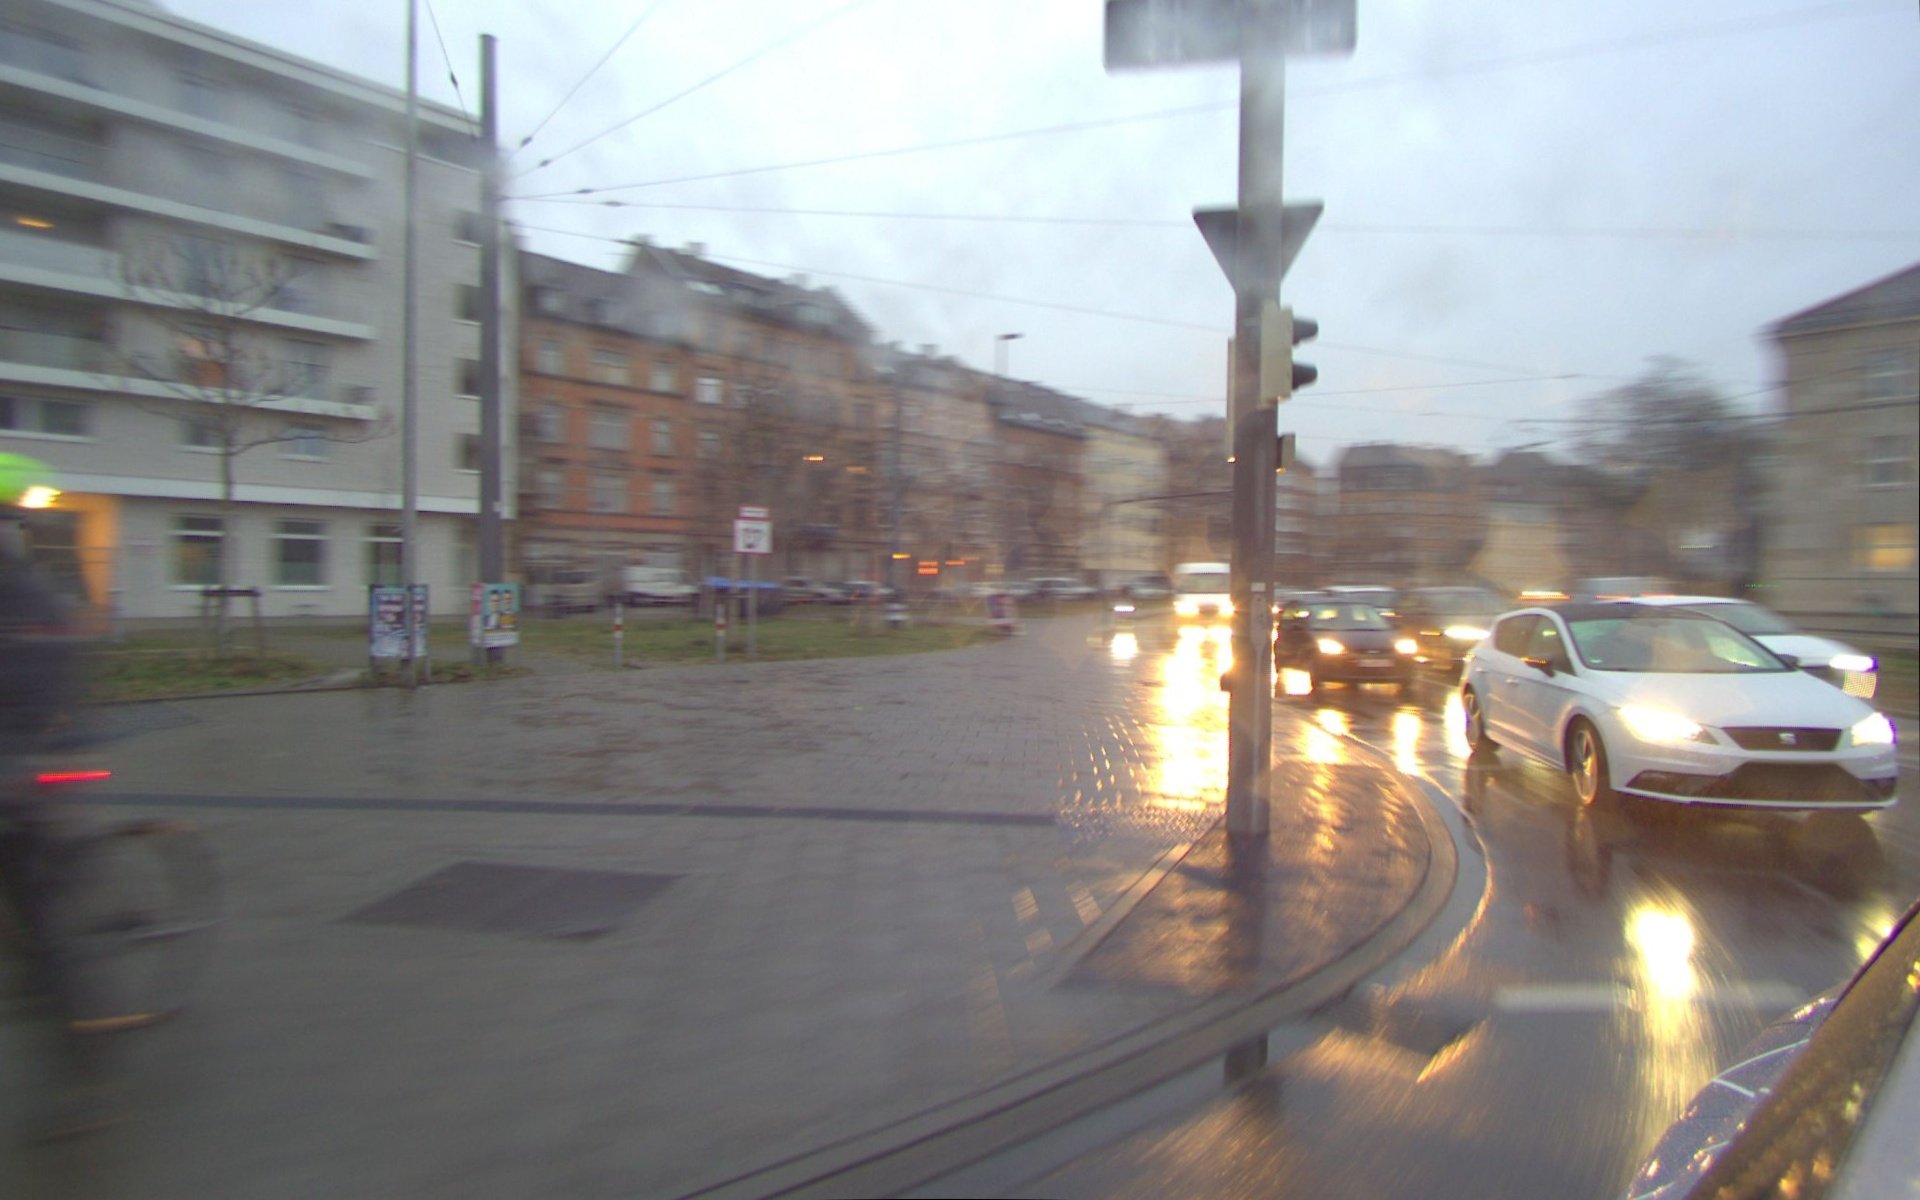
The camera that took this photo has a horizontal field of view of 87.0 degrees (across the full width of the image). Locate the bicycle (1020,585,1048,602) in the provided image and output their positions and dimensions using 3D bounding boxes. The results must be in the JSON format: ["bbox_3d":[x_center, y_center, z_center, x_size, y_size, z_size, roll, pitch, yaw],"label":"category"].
[{"bbox_3d":[4.544,-0.390,61.846,1.789,0.943,0.439,4,2,42],"label":"bicycle"}]

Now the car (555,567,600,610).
[{"bbox_3d":[-18.272,-0.584,48.428,1.902,1.966,4.608,0,1,-20],"label":"car"}]

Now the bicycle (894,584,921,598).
[{"bbox_3d":[-3.279,-0.558,62.671,1.786,0.787,0.440,3,2,38],"label":"bicycle"}]

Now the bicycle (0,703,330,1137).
[{"bbox_3d":[-2.777,0.892,2.769,0.648,0.986,1.858,0,1,15],"label":"bicycle"}]

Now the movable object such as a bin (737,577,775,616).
[{"bbox_3d":[-8.041,-0.145,39.906,1.120,1.504,1.051,0,1,-41],"label":"movable object such as a bin"}]

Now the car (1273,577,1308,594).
[{"bbox_3d":[32.109,-1.402,98.339,3.149,1.644,1.435,1,1,22],"label":"car"}]

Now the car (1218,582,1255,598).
[{"bbox_3d":[25.265,-0.943,92.598,3.149,1.446,1.418,1,1,22],"label":"car"}]

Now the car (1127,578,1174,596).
[{"bbox_3d":[15.112,-1.027,80.212,3.566,1.387,1.609,1,1,18],"label":"car"}]

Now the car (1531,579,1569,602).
[{"bbox_3d":[36.641,-0.601,62.901,1.628,1.403,4.437,1,1,25],"label":"car"}]

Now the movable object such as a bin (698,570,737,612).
[{"bbox_3d":[-9.266,-0.344,38.668,1.120,1.595,1.051,0,1,-41],"label":"movable object such as a bin"}]

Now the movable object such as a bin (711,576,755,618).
[{"bbox_3d":[-8.468,-0.136,37.726,1.231,1.529,1.051,0,1,-41],"label":"movable object such as a bin"}]

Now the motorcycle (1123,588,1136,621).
[{"bbox_3d":[6.572,0.159,39.326,0.476,1.198,2.404,0,1,9],"label":"motorcycle"}]

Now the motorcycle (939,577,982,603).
[{"bbox_3d":[0.035,-0.619,59.143,2.337,1.362,0.876,4,3,28],"label":"motorcycle"}]

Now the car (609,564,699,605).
[{"bbox_3d":[-17.244,-0.894,57.181,1.992,2.216,4.592,1,1,41],"label":"car"}]

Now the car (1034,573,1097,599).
[{"bbox_3d":[7.496,-1.019,71.942,4.280,1.790,1.774,1,1,13],"label":"car"}]

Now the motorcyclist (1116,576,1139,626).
[{"bbox_3d":[6.499,0.033,39.250,0.872,1.905,0.919,0,0,9],"label":"motorcyclist"}]

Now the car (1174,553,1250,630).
[{"bbox_3d":[8.797,-0.329,35.804,2.207,2.493,5.654,0,1,10],"label":"car"}]

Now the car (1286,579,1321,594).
[{"bbox_3d":[34.122,-1.316,100.568,3.151,1.431,1.371,1,1,24],"label":"car"}]

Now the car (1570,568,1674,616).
[{"bbox_3d":[27.441,-0.361,42.167,1.875,1.895,4.947,0,1,11],"label":"car"}]

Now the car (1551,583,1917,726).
[{"bbox_3d":[9.340,0.555,12.691,1.732,1.482,3.914,-1,1,4],"label":"car"}]

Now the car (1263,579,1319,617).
[{"bbox_3d":[13.516,-0.098,41.165,1.856,1.493,4.139,0,0,23],"label":"car"}]

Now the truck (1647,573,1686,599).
[{"bbox_3d":[55.919,-1.110,80.097,3.934,2.070,1.834,-1,1,-44],"label":"truck"}]

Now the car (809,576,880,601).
[{"bbox_3d":[-6.439,-0.639,56.524,3.632,1.322,1.736,1,1,13],"label":"car"}]

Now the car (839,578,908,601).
[{"bbox_3d":[-5.000,-0.612,58.507,3.632,1.322,1.662,1,1,13],"label":"car"}]

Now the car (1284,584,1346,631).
[{"bbox_3d":[11.808,0.216,33.816,1.666,1.448,3.332,0,1,15],"label":"car"}]

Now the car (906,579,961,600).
[{"bbox_3d":[-1.692,-0.670,65.159,3.252,1.322,1.515,1,1,14],"label":"car"}]

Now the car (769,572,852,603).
[{"bbox_3d":[-8.042,-0.678,54.566,4.093,1.589,1.736,1,1,13],"label":"car"}]

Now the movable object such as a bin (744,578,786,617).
[{"bbox_3d":[-7.464,-0.103,38.679,1.204,1.450,1.051,0,1,-41],"label":"movable object such as a bin"}]

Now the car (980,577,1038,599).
[{"bbox_3d":[3.293,-0.801,67.760,3.634,1.417,1.515,1,1,14],"label":"car"}]

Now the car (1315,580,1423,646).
[{"bbox_3d":[10.799,0.274,26.995,1.648,1.619,4.214,0,1,8],"label":"car"}]

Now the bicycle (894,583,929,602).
[{"bbox_3d":[-2.710,-0.409,56.508,1.868,1.031,0.538,1,2,-27],"label":"bicycle"}]

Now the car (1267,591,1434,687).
[{"bbox_3d":[6.539,0.580,17.380,1.694,1.405,3.816,0,1,6],"label":"car"}]

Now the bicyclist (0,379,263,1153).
[{"bbox_3d":[-2.694,0.404,2.812,0.782,1.914,0.984,0,1,15],"label":"bicyclist"}]

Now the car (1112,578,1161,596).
[{"bbox_3d":[13.645,-0.997,78.173,3.566,1.387,1.609,1,1,18],"label":"car"}]

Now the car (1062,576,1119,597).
[{"bbox_3d":[9.548,-0.988,73.899,3.913,1.463,1.691,1,1,19],"label":"car"}]

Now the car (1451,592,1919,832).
[{"bbox_3d":[5.587,0.672,8.285,1.761,1.396,4.209,-1,1,11],"label":"car"}]

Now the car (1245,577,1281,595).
[{"bbox_3d":[28.262,-1.341,94.419,3.149,1.644,1.418,1,1,22],"label":"car"}]

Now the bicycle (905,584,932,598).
[{"bbox_3d":[-2.620,-0.588,63.668,1.784,0.828,0.389,3,2,35],"label":"bicycle"}]

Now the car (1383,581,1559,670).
[{"bbox_3d":[10.065,0.412,20.343,1.796,1.590,4.353,0,1,8],"label":"car"}]

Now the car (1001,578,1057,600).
[{"bbox_3d":[4.774,-0.791,70.029,3.634,1.455,1.515,1,1,14],"label":"car"}]
